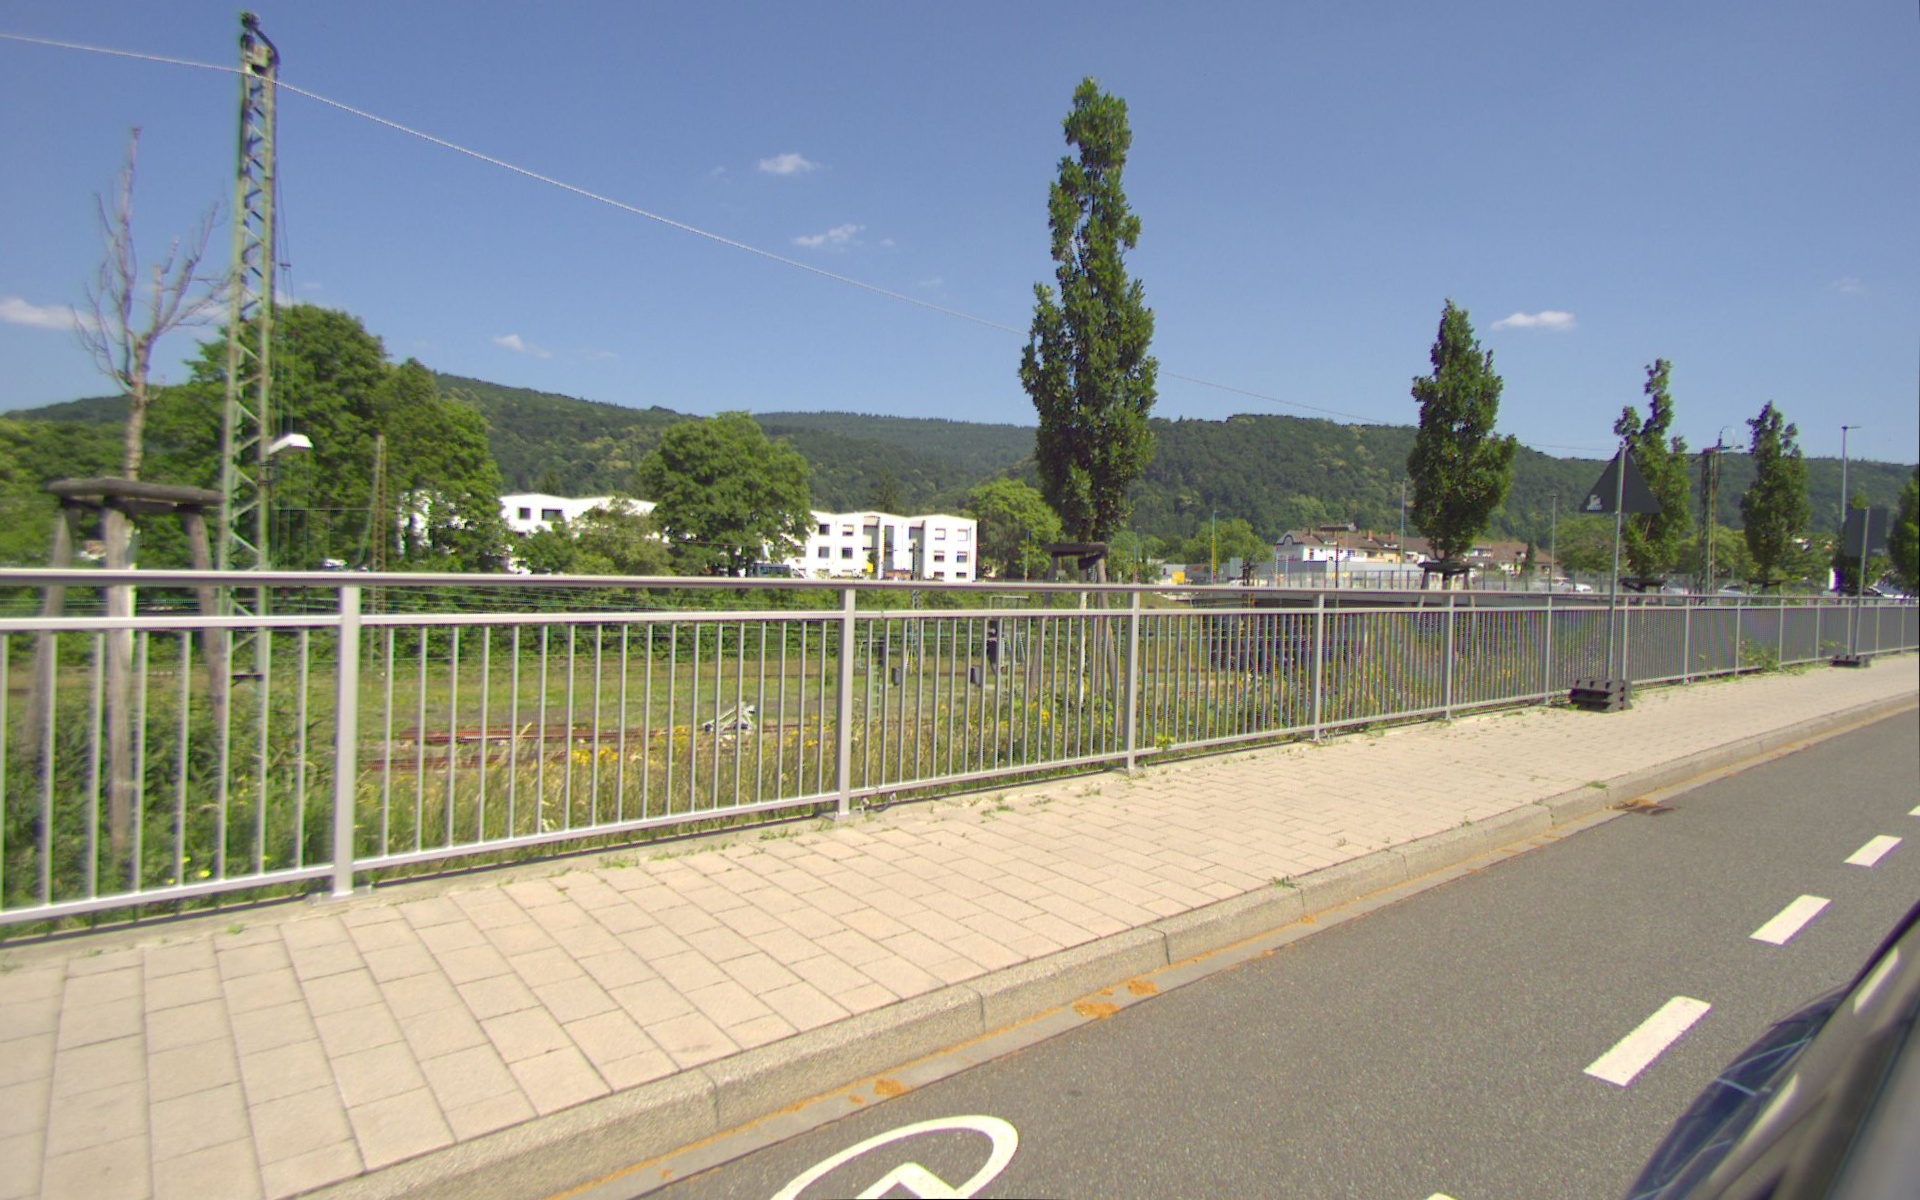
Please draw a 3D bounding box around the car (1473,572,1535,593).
[{"bbox_3d":[44.475,-1.428,82.781,1.700,1.647,4.452,1,1,-19],"label":"car"}]

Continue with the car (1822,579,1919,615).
[{"bbox_3d":[48.430,-0.177,52.972,1.958,1.740,4.644,1,1,-16],"label":"car"}]

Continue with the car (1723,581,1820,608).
[{"bbox_3d":[49.645,-0.393,62.021,1.700,1.487,4.421,-1,2,-16],"label":"car"}]

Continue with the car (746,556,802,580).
[{"bbox_3d":[-18.092,-3.125,98.500,4.893,2.139,2.002,1,1,-32],"label":"car"}]

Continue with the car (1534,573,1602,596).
[{"bbox_3d":[46.030,-1.218,76.754,1.700,1.646,4.453,-1,2,-15],"label":"car"}]

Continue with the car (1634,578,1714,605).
[{"bbox_3d":[48.338,-0.594,68.633,1.701,1.646,4.452,-1,2,-11],"label":"car"}]
